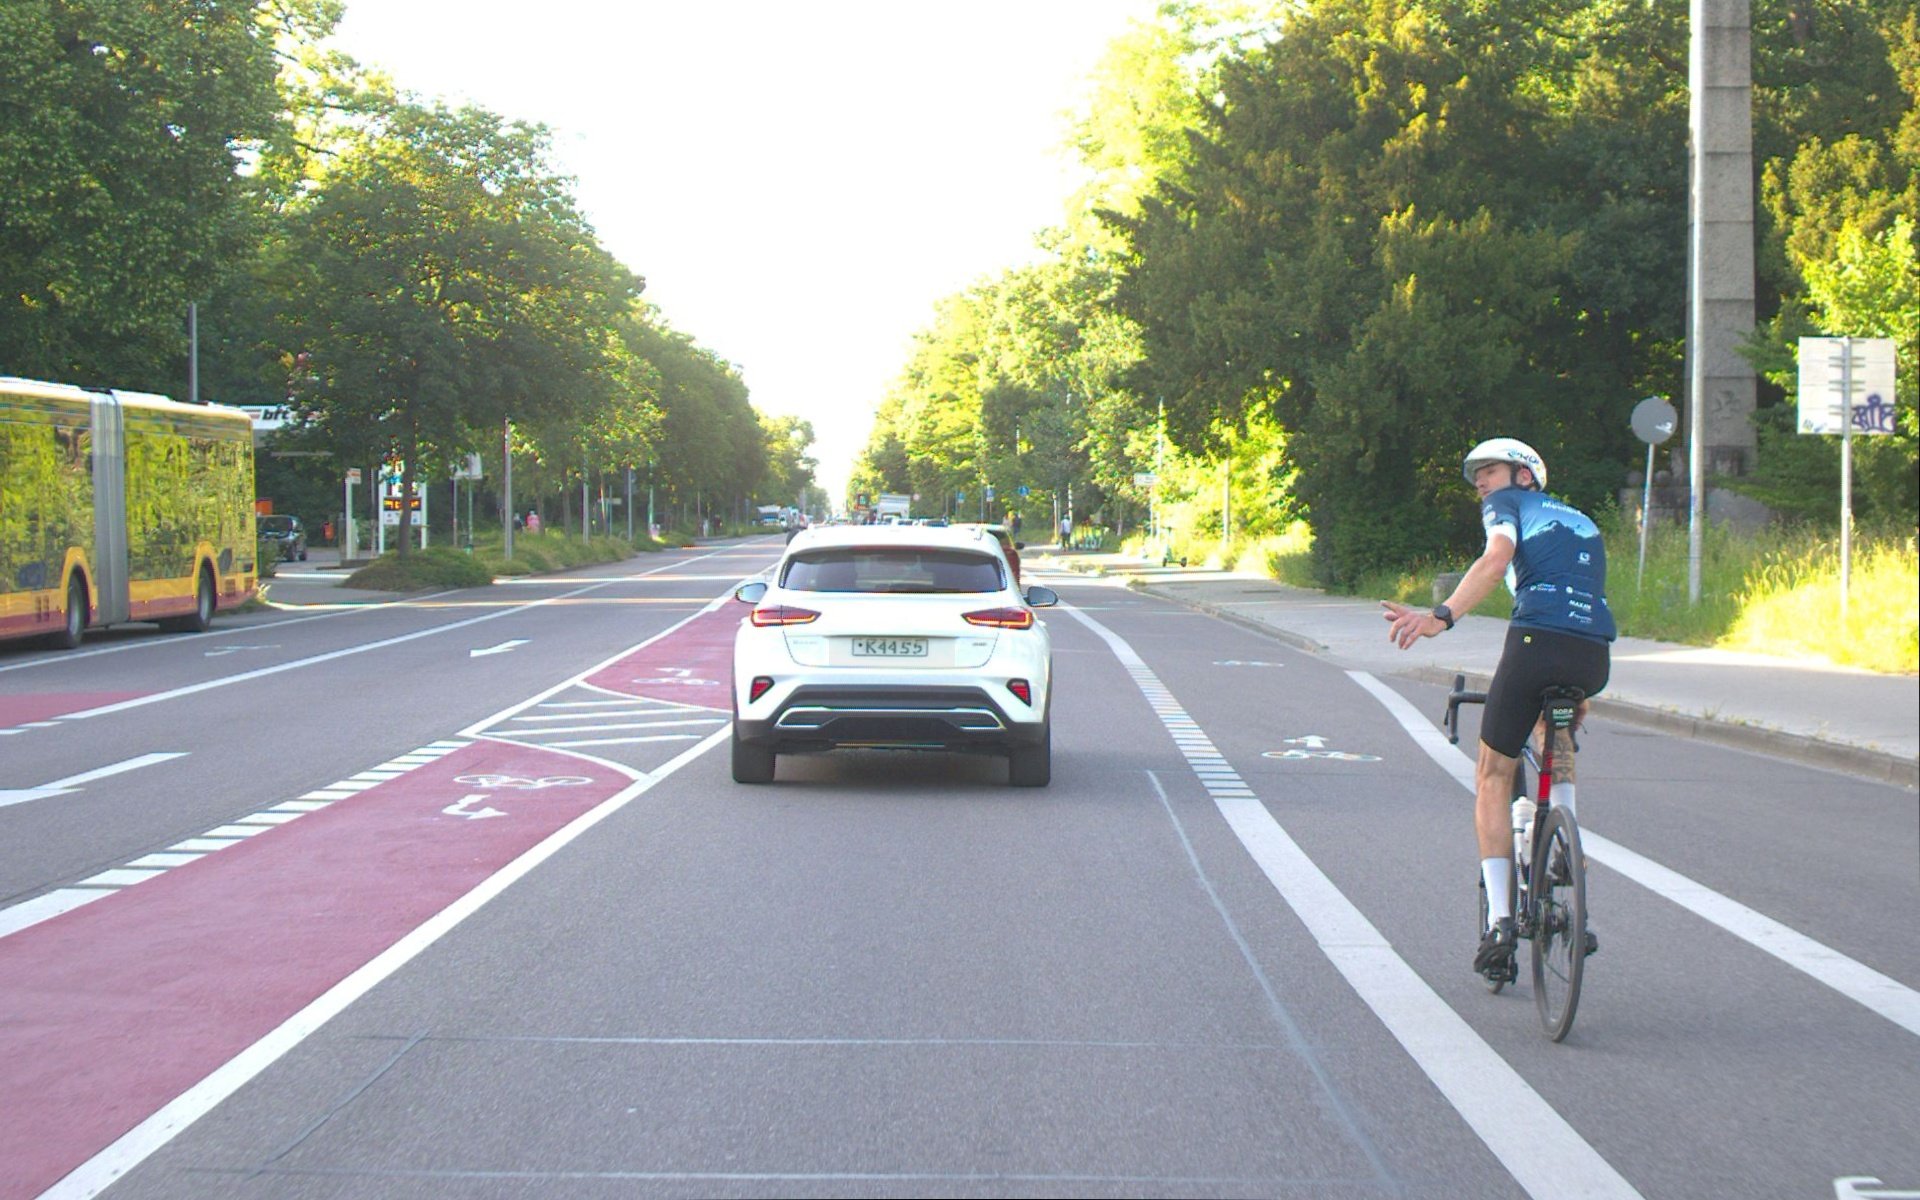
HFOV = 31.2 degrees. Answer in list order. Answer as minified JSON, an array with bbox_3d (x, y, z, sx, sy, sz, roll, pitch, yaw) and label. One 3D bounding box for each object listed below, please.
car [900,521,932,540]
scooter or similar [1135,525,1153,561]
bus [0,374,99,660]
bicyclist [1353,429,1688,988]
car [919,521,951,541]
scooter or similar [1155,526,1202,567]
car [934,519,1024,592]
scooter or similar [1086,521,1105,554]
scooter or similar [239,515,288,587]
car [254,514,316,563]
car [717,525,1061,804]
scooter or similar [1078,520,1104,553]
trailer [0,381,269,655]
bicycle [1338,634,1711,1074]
[{"bbox_3d":[-3.184,-4.995,246.061,1.993,1.322,4.001,0,1,-5],"label":"car"},{"bbox_3d":[6.546,-2.031,122.330,0.533,1.245,1.541,0,1,-1],"label":"scooter or similar"},{"bbox_3d":[-12.116,-0.912,38.192,2.840,3.185,8.600,0,1,1],"label":"bus"},{"bbox_3d":[1.637,0.295,10.197,0.860,1.562,0.881,2,1,4],"label":"bicyclist"},{"bbox_3d":[-1.691,-4.620,230.388,1.993,1.322,4.001,0,1,-2],"label":"car"},{"bbox_3d":[6.636,-1.626,104.479,1.537,1.245,0.534,-1,2,-44],"label":"scooter or similar"},{"bbox_3d":[0.406,-0.907,68.364,1.676,1.413,3.574,0,1,2],"label":"car"},{"bbox_3d":[5.846,-2.709,148.085,0.682,1.418,1.682,0,1,-2],"label":"scooter or similar"},{"bbox_3d":[-16.709,-1.184,82.455,0.827,1.711,1.741,0,1,0],"label":"scooter or similar"},{"bbox_3d":[-23.641,-2.166,120.510,1.710,1.685,4.455,0,1,-5],"label":"car"},{"bbox_3d":[-0.517,0.313,20.603,1.761,1.454,3.819,2,1,-5],"label":"car"},{"bbox_3d":[5.810,-2.808,152.036,0.682,1.418,1.682,0,1,-15],"label":"scooter or similar"},{"bbox_3d":[-11.973,-1.132,47.156,2.855,3.344,9.363,2,1,1],"label":"trailer"},{"bbox_3d":[1.646,0.699,10.392,0.891,1.091,2.136,2,2,4],"label":"bicycle"}]
